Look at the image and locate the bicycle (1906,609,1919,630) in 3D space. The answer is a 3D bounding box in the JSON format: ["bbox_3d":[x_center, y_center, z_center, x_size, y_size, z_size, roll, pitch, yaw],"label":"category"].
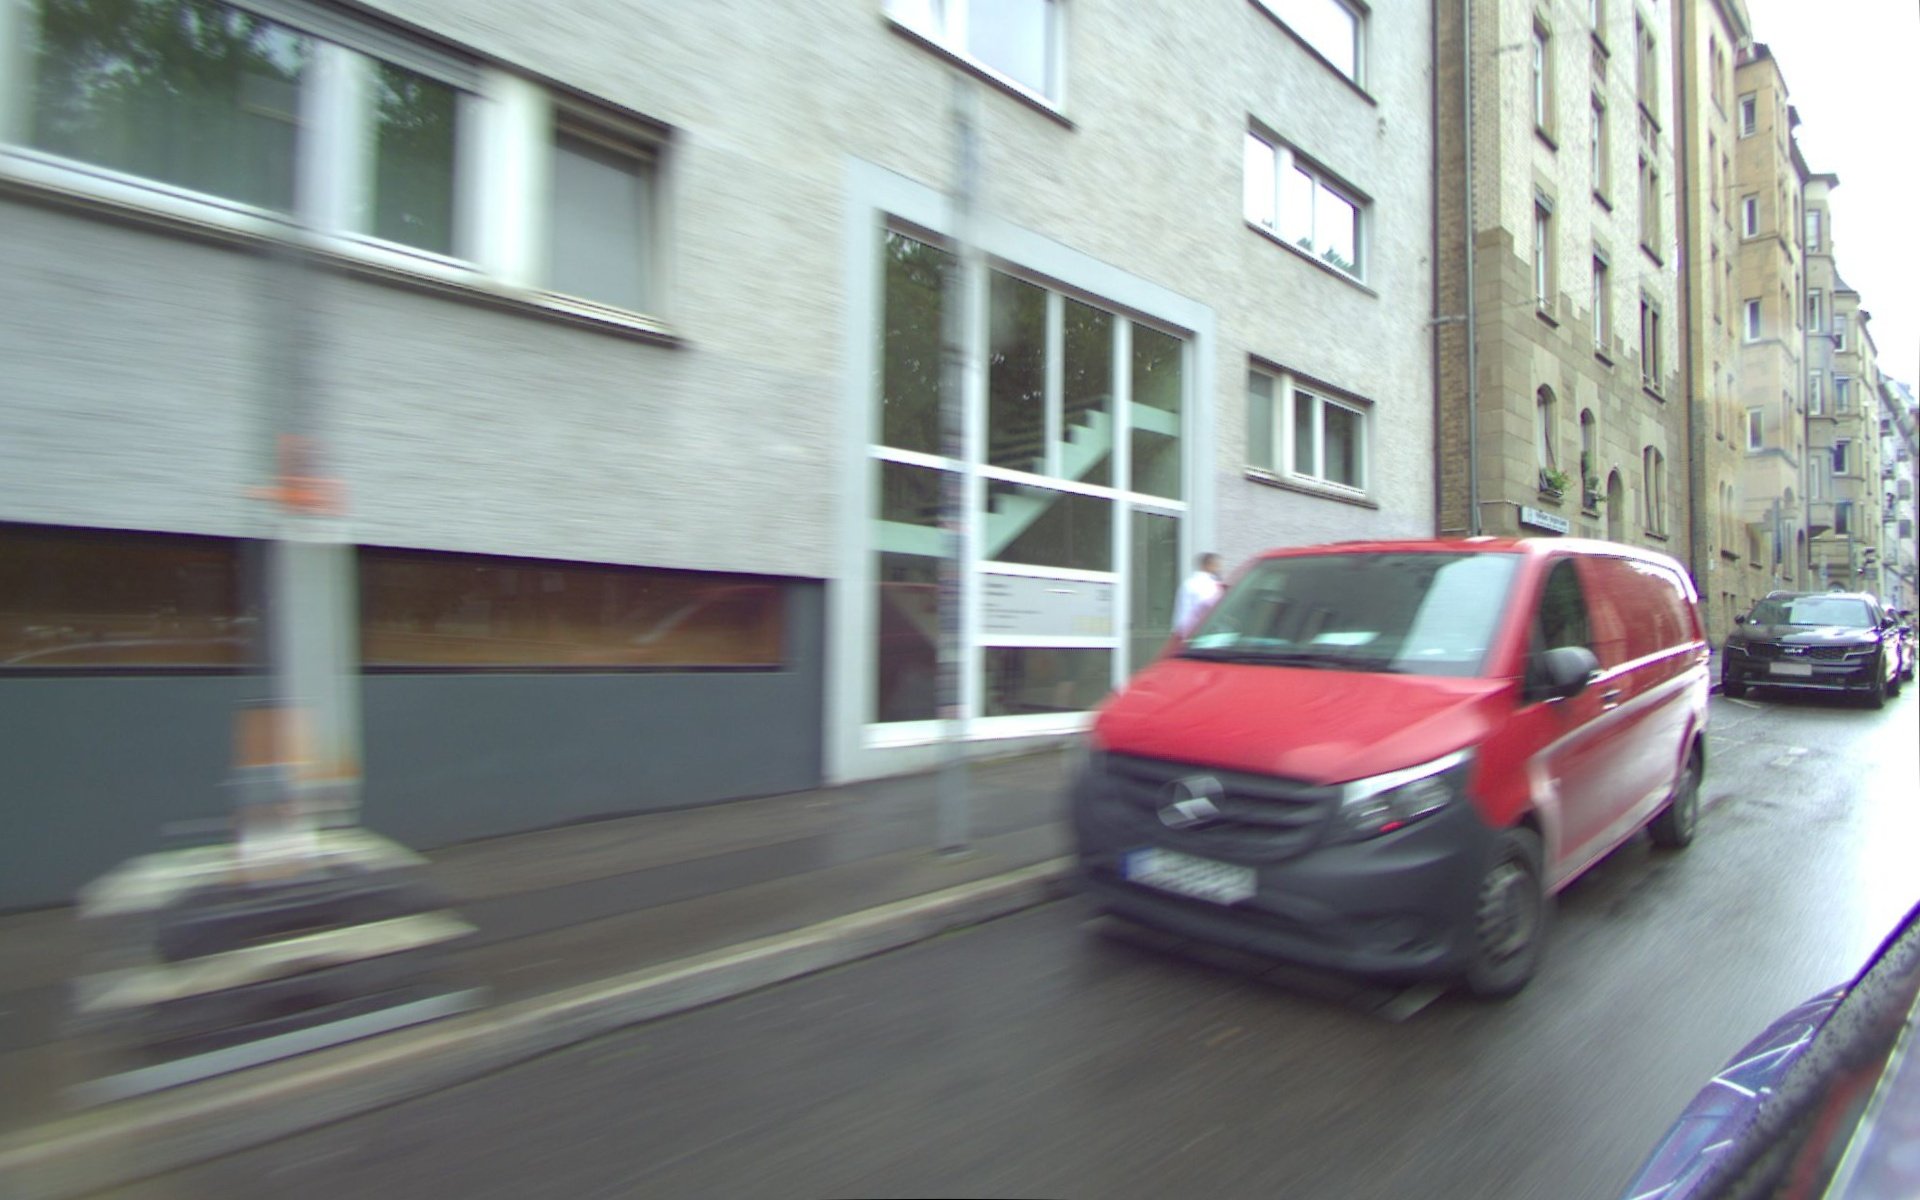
[{"bbox_3d":[48.840,1.018,51.883,1.646,1.027,0.339,2,0,-42],"label":"bicycle"}]

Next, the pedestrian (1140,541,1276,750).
[{"bbox_3d":[2.249,0.402,9.215,0.823,1.780,0.852,1,-3,-42],"label":"pedestrian"}]

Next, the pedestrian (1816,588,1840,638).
[{"bbox_3d":[30.896,0.455,36.017,0.564,1.774,0.579,3,-2,-42],"label":"pedestrian"}]

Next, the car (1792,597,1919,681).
[{"bbox_3d":[17.754,0.701,19.790,3.546,1.471,1.664,-1,-1,-41],"label":"car"}]

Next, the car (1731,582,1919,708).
[{"bbox_3d":[13.815,0.646,16.040,4.422,1.730,1.767,1,-1,-42],"label":"car"}]

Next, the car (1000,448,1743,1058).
[{"bbox_3d":[2.696,0.466,5.631,5.160,1.861,1.975,0,-1,-45],"label":"car"}]
